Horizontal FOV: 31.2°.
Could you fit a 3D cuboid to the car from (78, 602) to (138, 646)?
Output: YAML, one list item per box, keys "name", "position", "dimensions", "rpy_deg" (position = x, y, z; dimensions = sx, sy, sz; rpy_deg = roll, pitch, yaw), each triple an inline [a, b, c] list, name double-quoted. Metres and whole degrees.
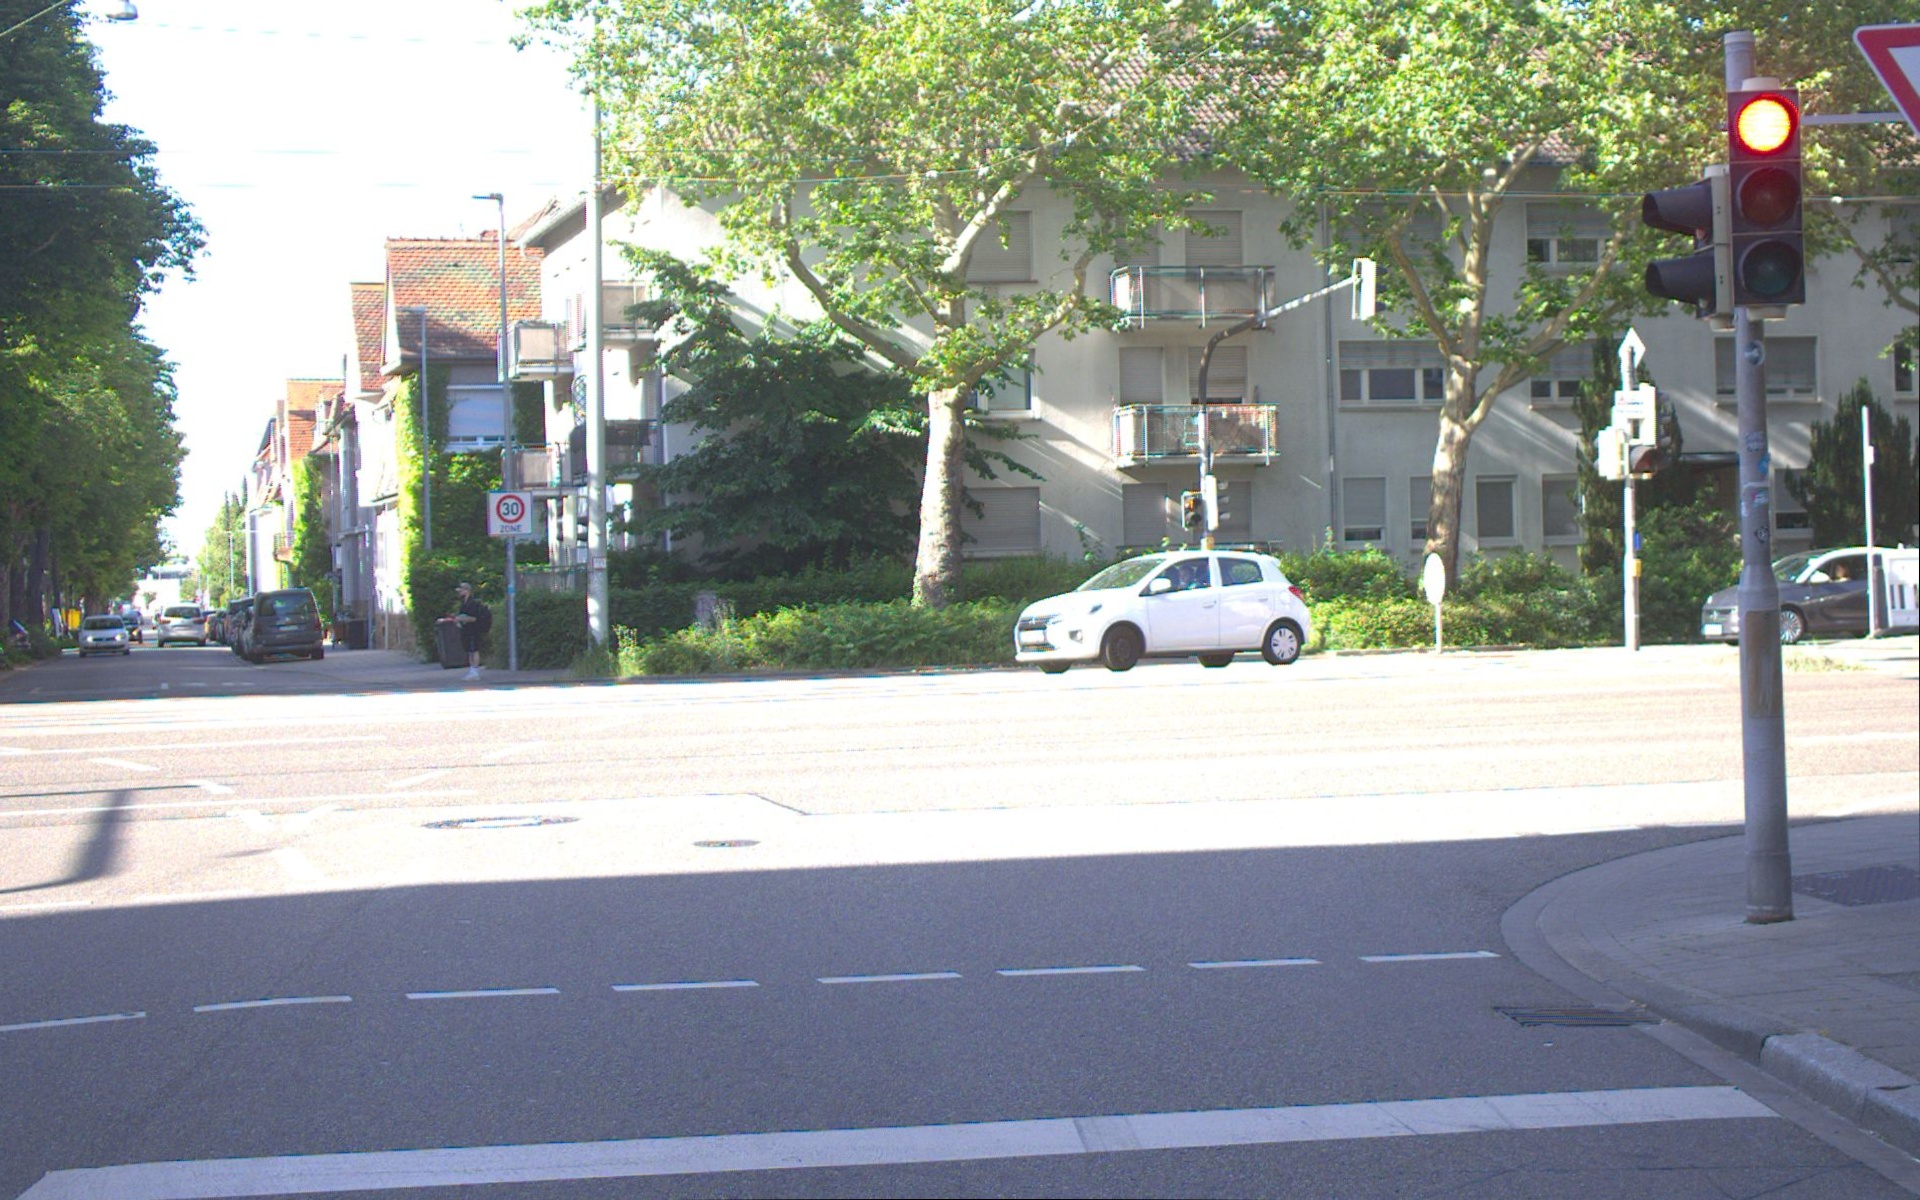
- name: "car"
  position: [-30.642, 0.864, 123.549]
  dimensions: [1.993, 1.441, 4.001]
  rpy_deg: [-2, 1, -15]

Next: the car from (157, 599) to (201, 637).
- name: "car"
  position: [-31.059, 0.718, 136.790]
  dimensions: [1.673, 1.477, 3.523]
  rpy_deg: [-1, 0, -13]

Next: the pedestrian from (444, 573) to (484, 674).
- name: "pedestrian"
  position: [-8.659, 0.404, 60.089]
  dimensions: [0.633, 1.744, 0.659]
  rpy_deg: [-1, 0, -4]

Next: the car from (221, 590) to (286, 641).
- name: "car"
  position: [-25.732, 0.560, 125.189]
  dimensions: [1.993, 1.826, 4.001]
  rpy_deg: [-1, 0, -16]

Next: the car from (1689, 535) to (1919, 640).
- name: "car"
  position: [13.156, -0.209, 53.140]
  dimensions: [3.379, 1.482, 1.525]
  rpy_deg: [-2, 1, -22]

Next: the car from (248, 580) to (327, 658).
- name: "car"
  position: [-18.474, 0.498, 94.576]
  dimensions: [1.993, 2.007, 4.001]
  rpy_deg: [-2, 1, -10]

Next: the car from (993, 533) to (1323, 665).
- name: "car"
  position: [2.478, -0.028, 42.827]
  dimensions: [3.787, 1.467, 1.630]
  rpy_deg: [-2, 1, -29]
